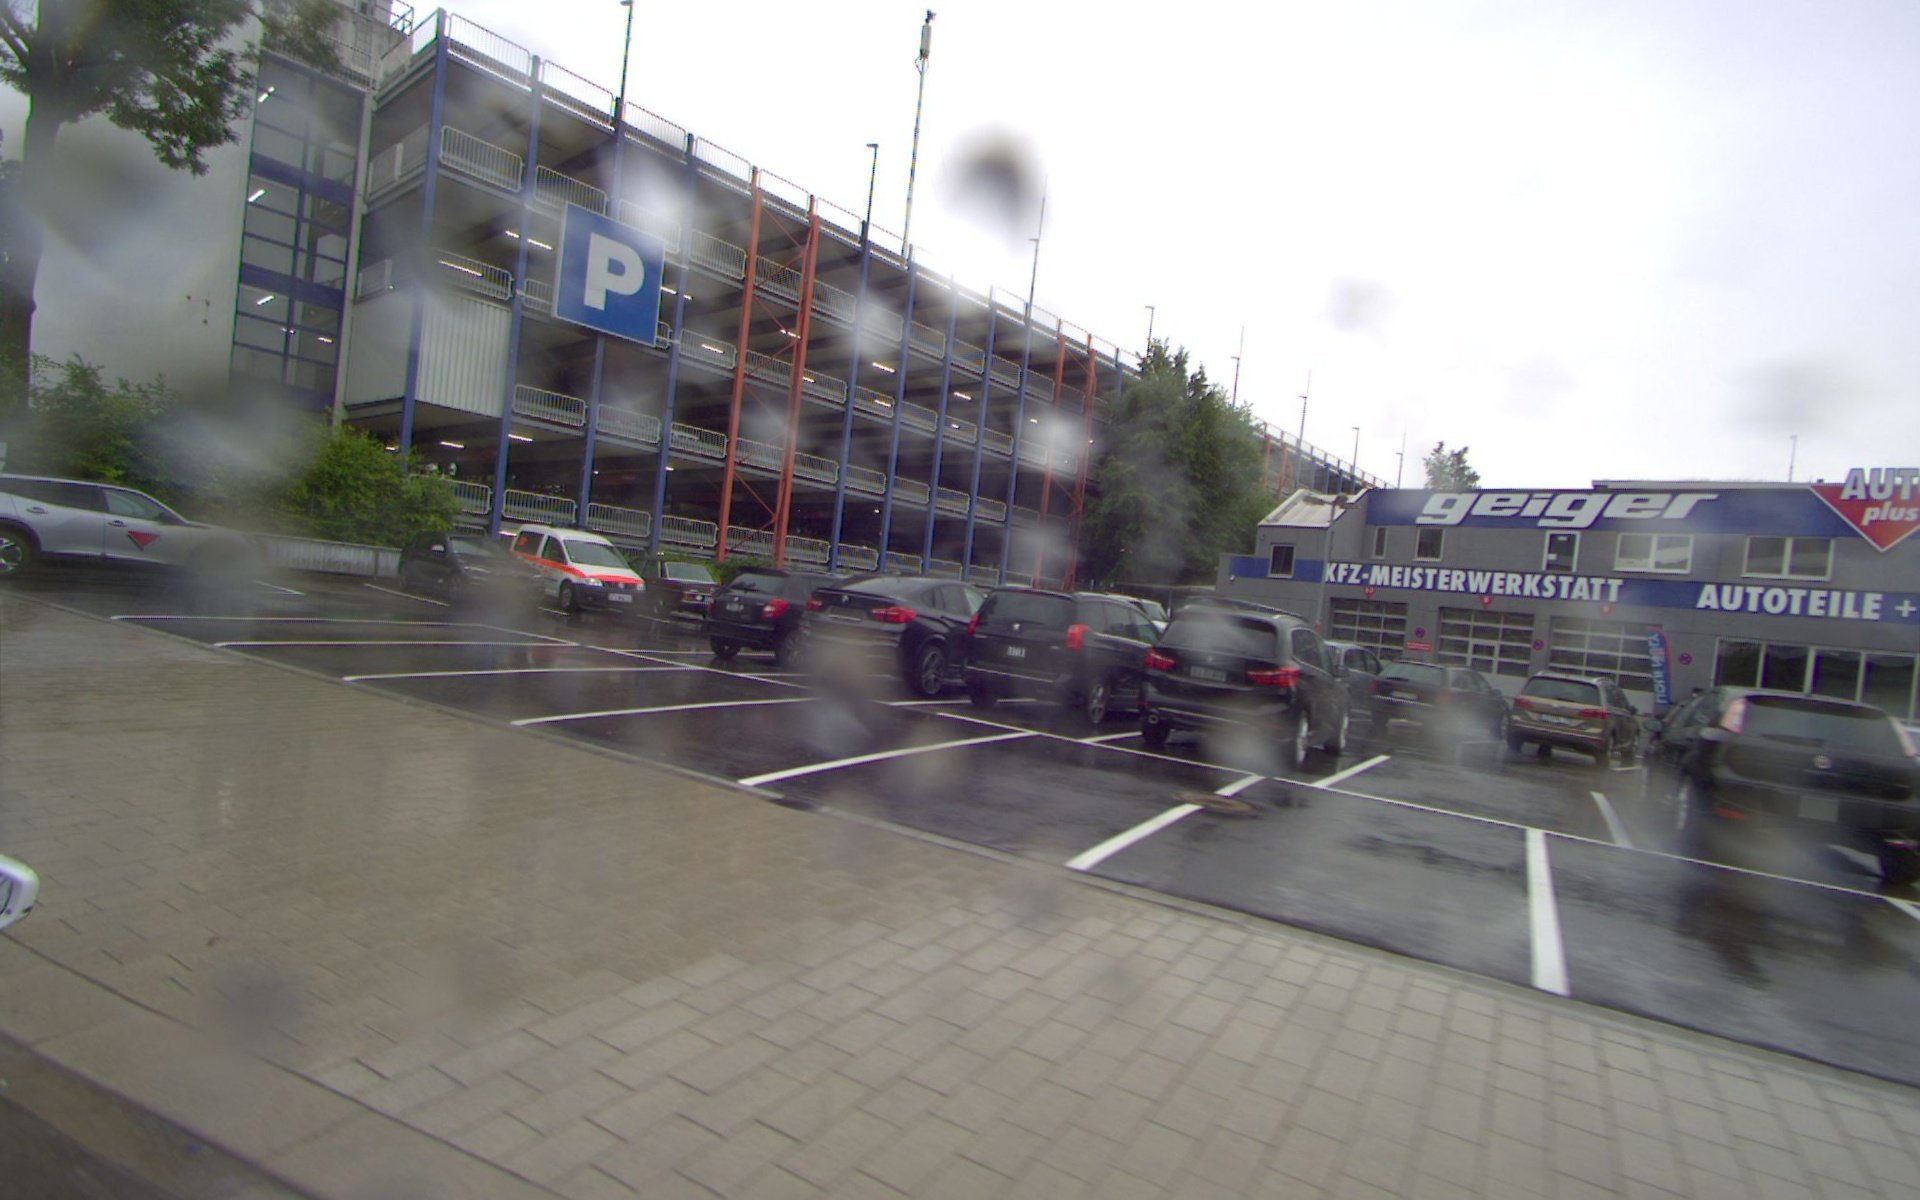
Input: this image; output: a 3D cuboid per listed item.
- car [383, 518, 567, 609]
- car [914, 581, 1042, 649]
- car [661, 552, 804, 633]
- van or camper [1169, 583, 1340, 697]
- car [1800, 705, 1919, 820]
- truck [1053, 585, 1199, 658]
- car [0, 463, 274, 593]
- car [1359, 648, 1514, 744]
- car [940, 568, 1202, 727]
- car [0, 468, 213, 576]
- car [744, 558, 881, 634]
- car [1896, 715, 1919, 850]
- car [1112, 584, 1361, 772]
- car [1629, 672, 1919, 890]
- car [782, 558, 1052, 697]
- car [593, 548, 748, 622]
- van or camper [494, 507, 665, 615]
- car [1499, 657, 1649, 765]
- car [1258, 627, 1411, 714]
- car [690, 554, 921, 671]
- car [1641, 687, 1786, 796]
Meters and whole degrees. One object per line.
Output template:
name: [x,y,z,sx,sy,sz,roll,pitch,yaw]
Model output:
car: [-10.527,-0.814,21.733,4.145,1.460,1.931,7,0,39]
car: [0.577,0.501,34.451,3.946,1.833,1.891,4,-5,42]
car: [-6.172,-0.235,27.037,3.946,1.701,1.726,8,2,43]
van or camper: [7.435,1.023,25.065,2.189,2.356,4.949,8,2,38]
car: [15.817,2.705,17.117,4.114,1.516,1.841,5,2,-45]
truck: [6.497,0.808,39.757,5.233,2.293,1.994,4,-4,41]
car: [-13.603,-1.142,15.851,1.971,1.671,4.199,7,2,40]
car: [10.220,1.988,21.412,1.838,1.603,4.348,8,2,39]
car: [1.712,0.667,13.897,1.756,1.679,4.359,7,1,31]
car: [-15.551,-1.394,17.601,1.780,1.514,3.616,8,1,40]
car: [-4.304,-0.137,29.024,3.946,1.701,1.726,8,2,43]
car: [9.839,1.858,8.564,1.663,1.332,3.733,7,0,27]
car: [3.540,0.885,12.219,1.813,1.672,4.362,7,0,29]
car: [7.850,1.563,9.768,1.701,1.467,3.733,7,0,27]
car: [-0.438,0.440,14.775,1.808,1.578,4.361,7,1,29]
car: [-7.337,-0.403,25.352,3.940,1.372,1.728,8,2,39]
van or camper: [-9.067,-0.969,23.803,4.400,2.062,1.834,7,1,43]
car: [12.303,2.122,20.028,1.838,1.689,4.121,8,2,39]
car: [8.651,1.598,23.018,1.838,1.603,4.348,8,2,39]
car: [-2.385,0.272,16.396,1.614,1.519,3.691,7,0,31]
car: [14.175,2.534,18.853,1.838,1.516,4.121,8,2,39]
